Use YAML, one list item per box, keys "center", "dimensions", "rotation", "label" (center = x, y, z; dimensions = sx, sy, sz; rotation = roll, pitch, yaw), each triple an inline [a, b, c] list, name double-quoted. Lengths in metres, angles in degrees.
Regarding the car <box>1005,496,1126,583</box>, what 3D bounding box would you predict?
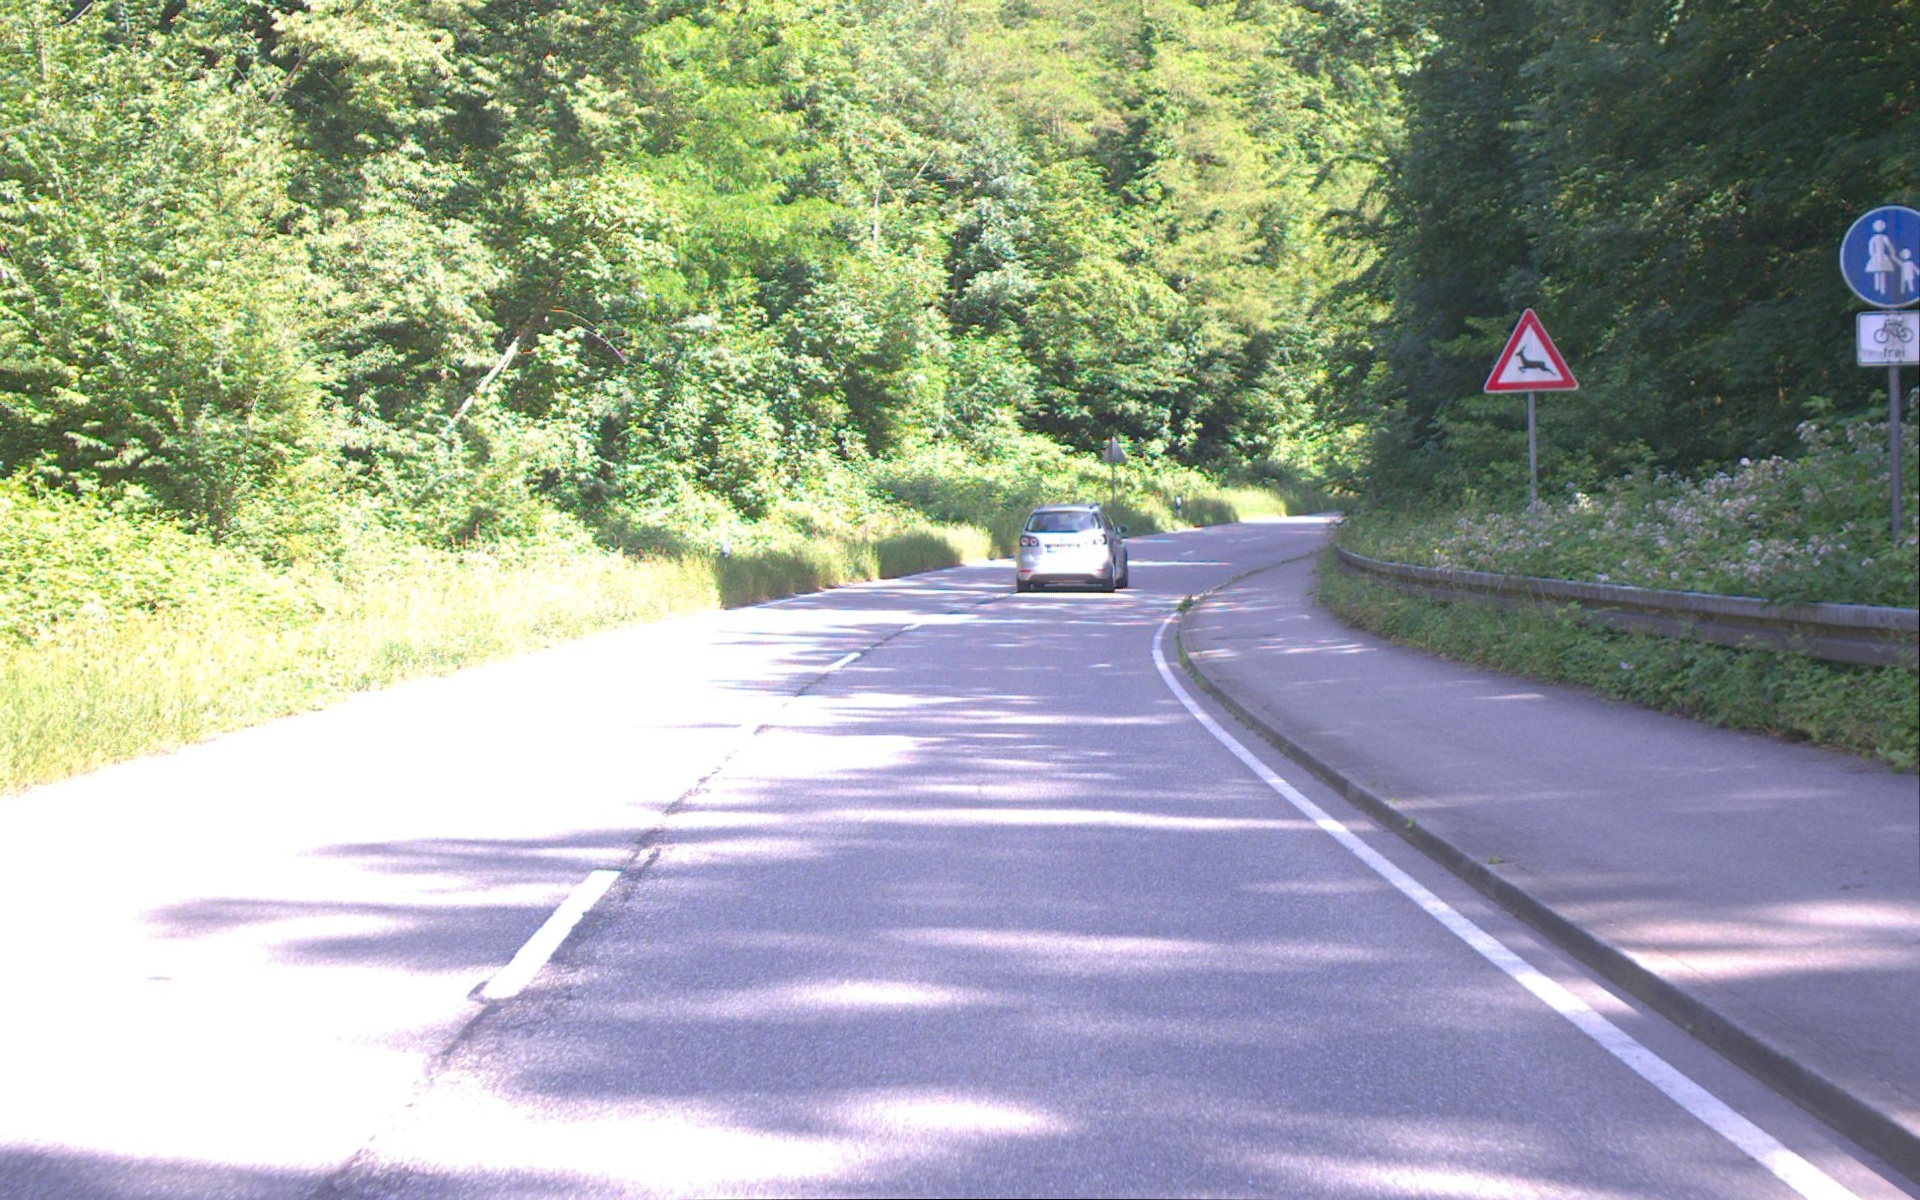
- center: [1.940, -1.113, 62.097]
  dimensions: [1.752, 1.514, 4.158]
  rotation: [0, 2, 8]
  label: "car"
